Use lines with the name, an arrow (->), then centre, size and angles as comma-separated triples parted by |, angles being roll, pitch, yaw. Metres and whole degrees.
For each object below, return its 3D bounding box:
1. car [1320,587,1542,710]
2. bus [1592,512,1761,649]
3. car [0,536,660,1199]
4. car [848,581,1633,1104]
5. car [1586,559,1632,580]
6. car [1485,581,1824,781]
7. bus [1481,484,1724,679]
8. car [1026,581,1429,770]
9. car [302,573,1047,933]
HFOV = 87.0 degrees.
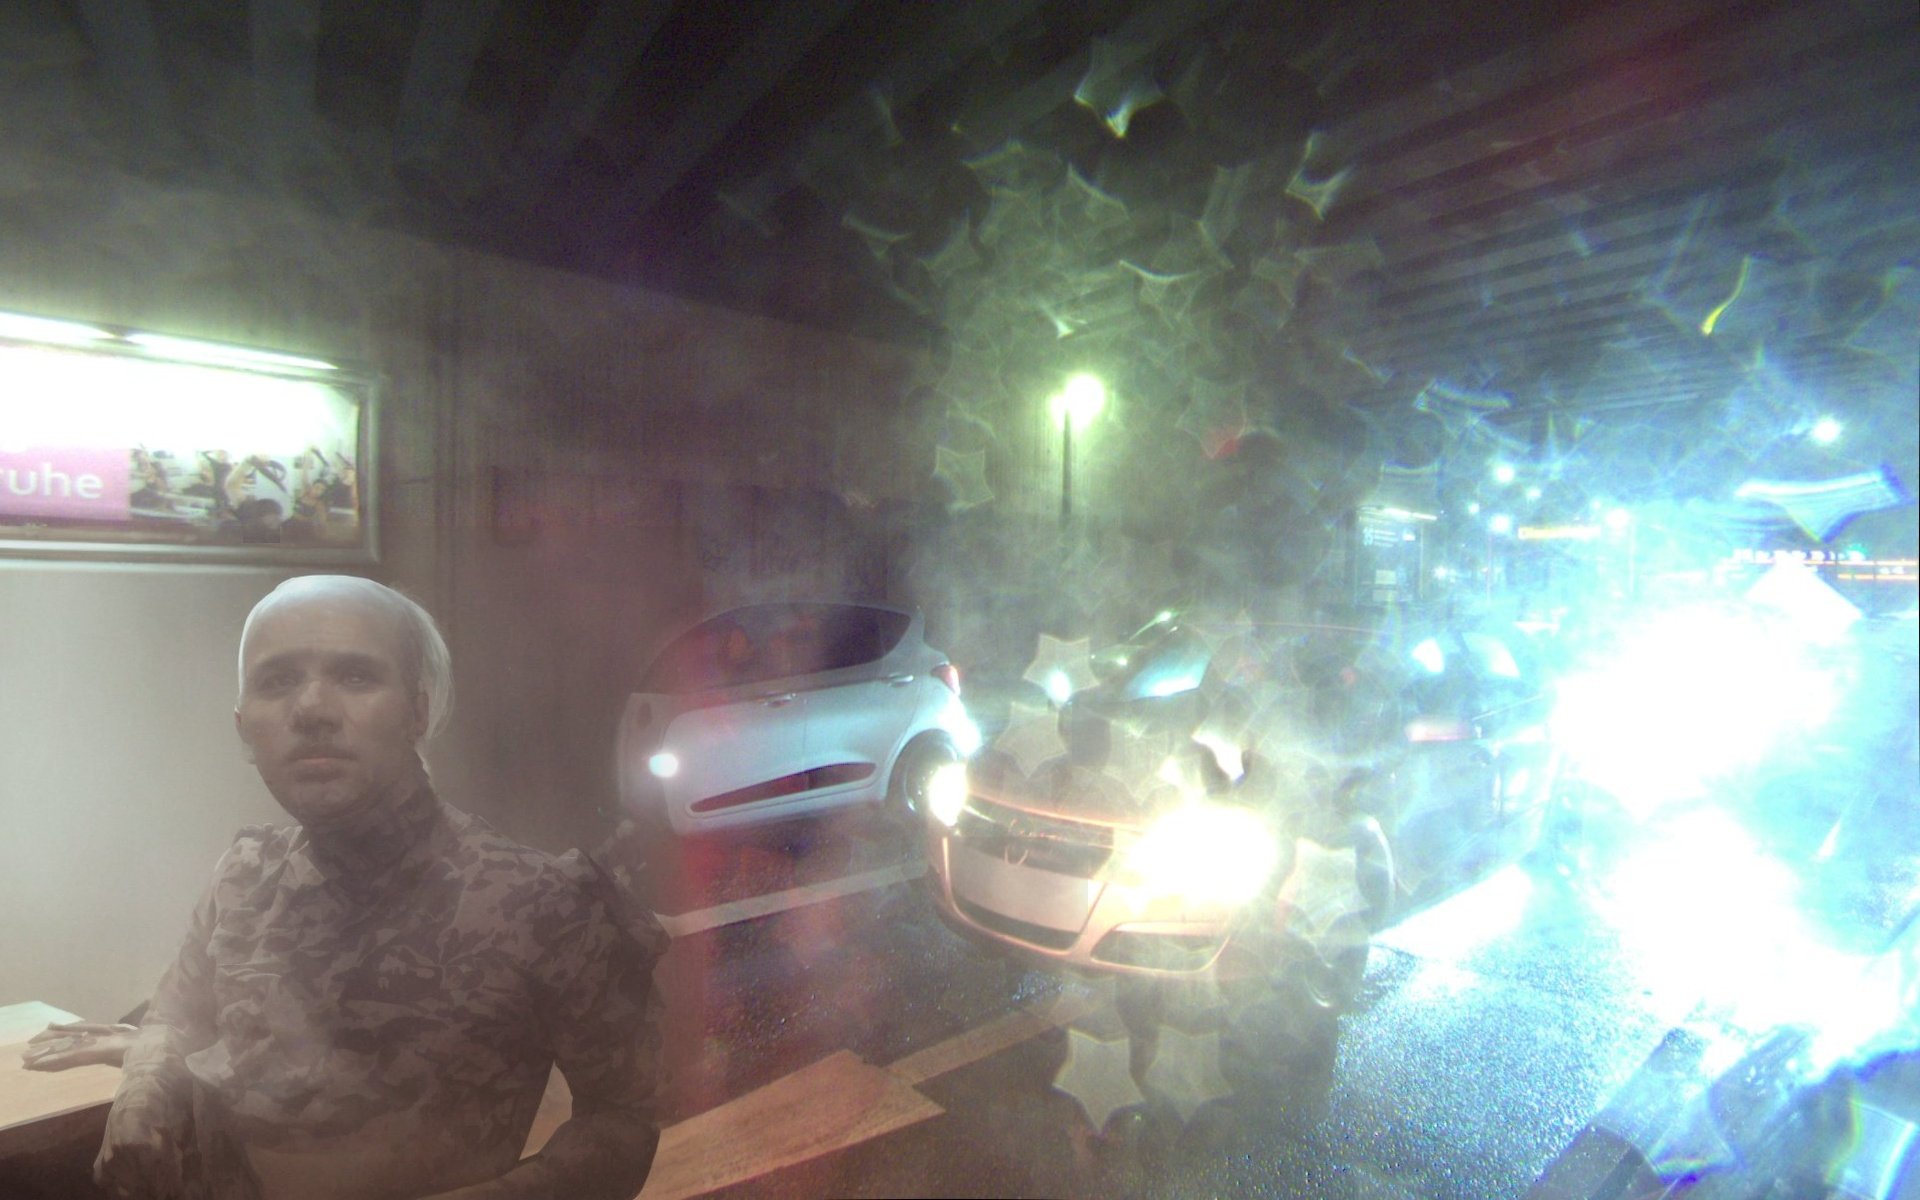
car -> 7.135, 0.597, 15.135 | 1.721, 1.505, 4.096 | 3, 3, 44
bus -> 20.523, -0.559, 28.686 | 2.733, 3.278, 9.551 | 1, 1, 43
car -> -2.697, 0.631, 0.974 | 4.308, 1.464, 1.723 | -1, 3, -42
car -> 1.626, 0.650, 4.868 | 4.091, 1.464, 1.723 | -1, 2, -42
car -> 46.328, -2.157, 72.327 | 1.685, 1.407, 3.979 | 0, 1, 17
car -> 6.750, 0.617, 9.665 | 4.091, 1.506, 1.722 | -1, -2, -42
bus -> 14.048, -0.408, 21.637 | 2.733, 3.318, 9.551 | 1, 1, 43
car -> 2.942, 0.574, 10.441 | 4.705, 1.505, 1.723 | -1, 2, -42
car -> -1.498, 0.602, 6.239 | 4.091, 1.464, 1.723 | -1, 3, -42
